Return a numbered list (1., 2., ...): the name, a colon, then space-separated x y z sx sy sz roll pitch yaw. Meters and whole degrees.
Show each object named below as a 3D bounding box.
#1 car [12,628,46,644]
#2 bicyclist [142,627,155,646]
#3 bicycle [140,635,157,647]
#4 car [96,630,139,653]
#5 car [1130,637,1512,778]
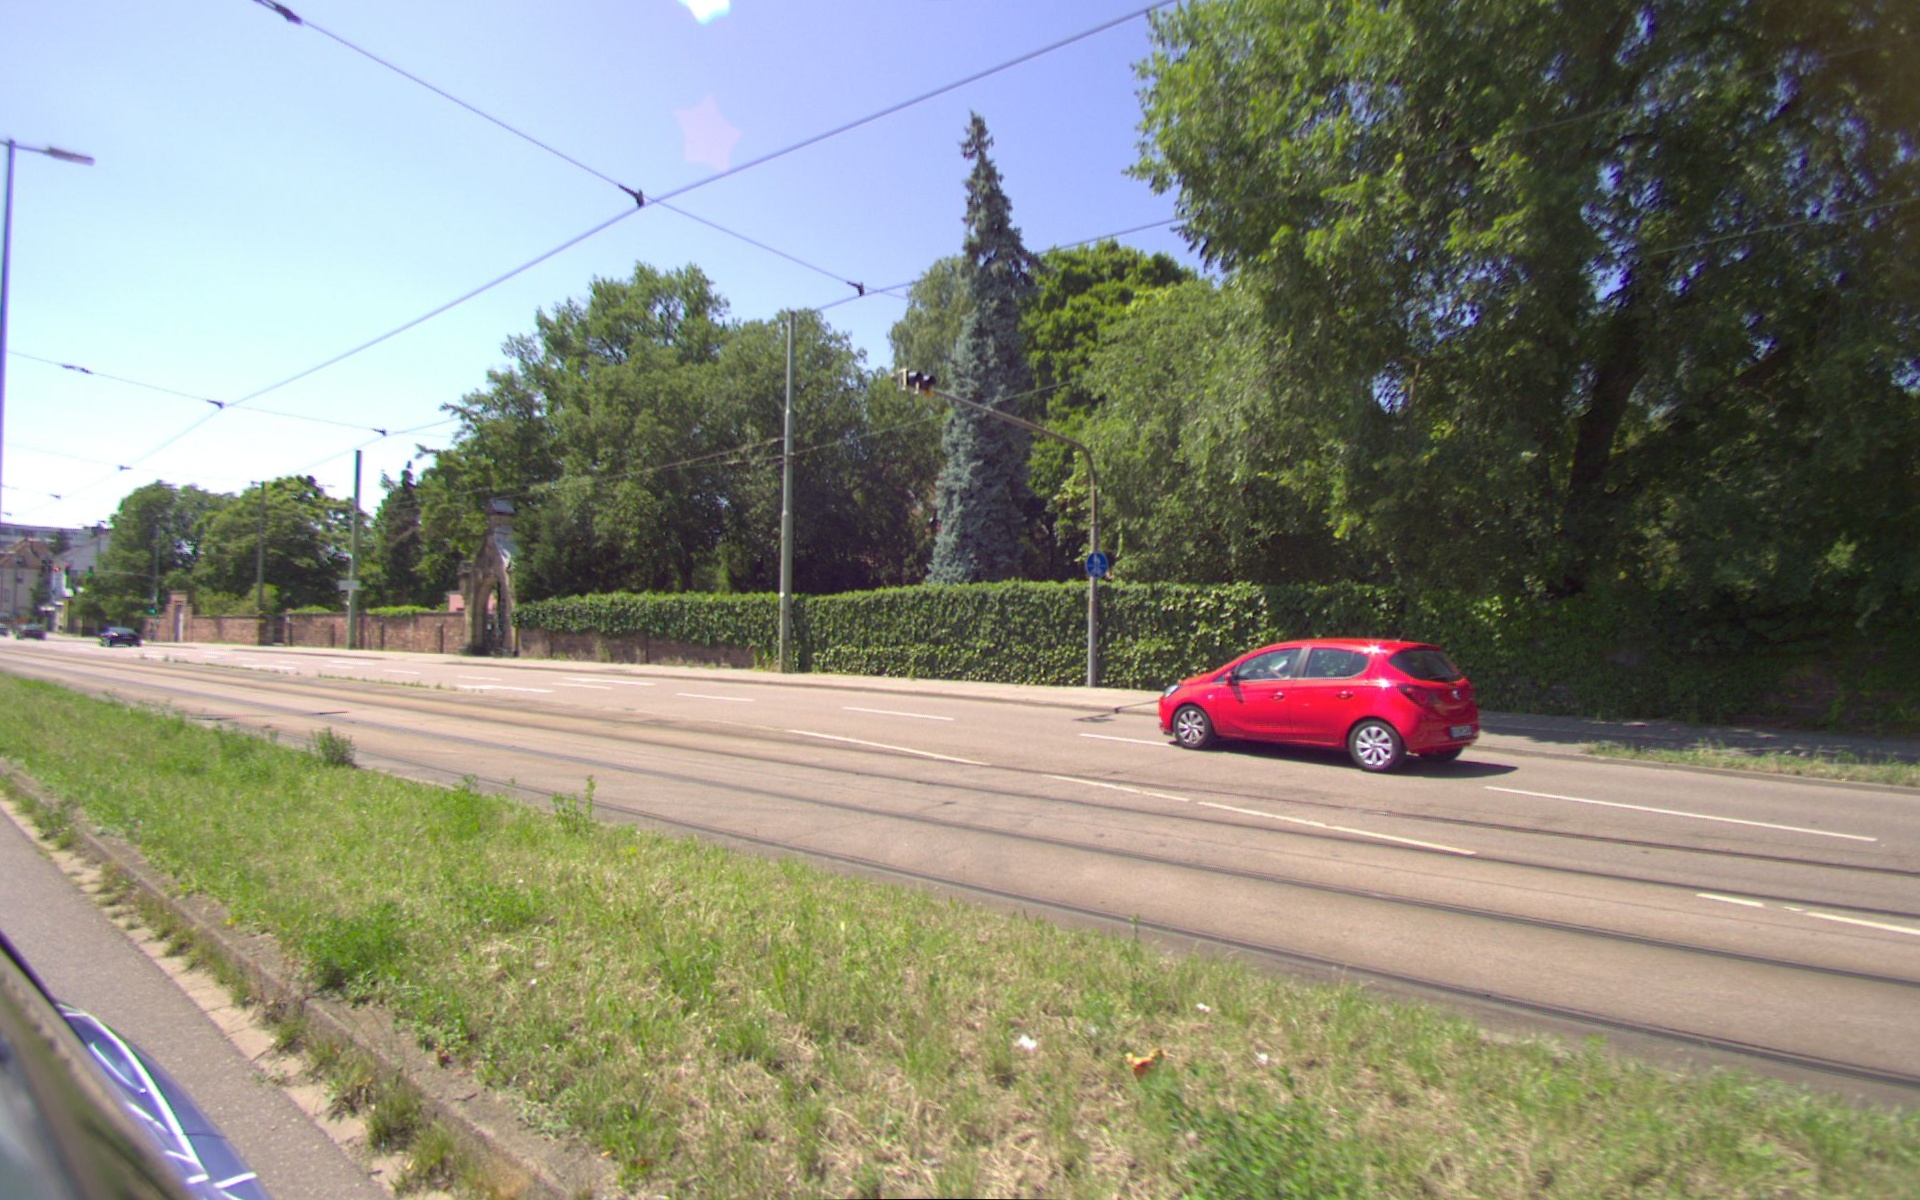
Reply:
1. car: -88.719 3.400 96.401 5.031 1.427 1.822 -1 0 41
2. bicyclist: -64.575 2.894 80.546 0.661 1.508 0.646 -1 -2 39
3. bicycle: -64.554 3.255 80.515 2.112 0.964 0.646 -1 -2 39
4. car: -58.291 2.853 70.001 4.122 1.459 1.737 -1 -1 42
5. car: 4.319 1.201 12.737 1.684 1.425 4.290 1 -2 -38
